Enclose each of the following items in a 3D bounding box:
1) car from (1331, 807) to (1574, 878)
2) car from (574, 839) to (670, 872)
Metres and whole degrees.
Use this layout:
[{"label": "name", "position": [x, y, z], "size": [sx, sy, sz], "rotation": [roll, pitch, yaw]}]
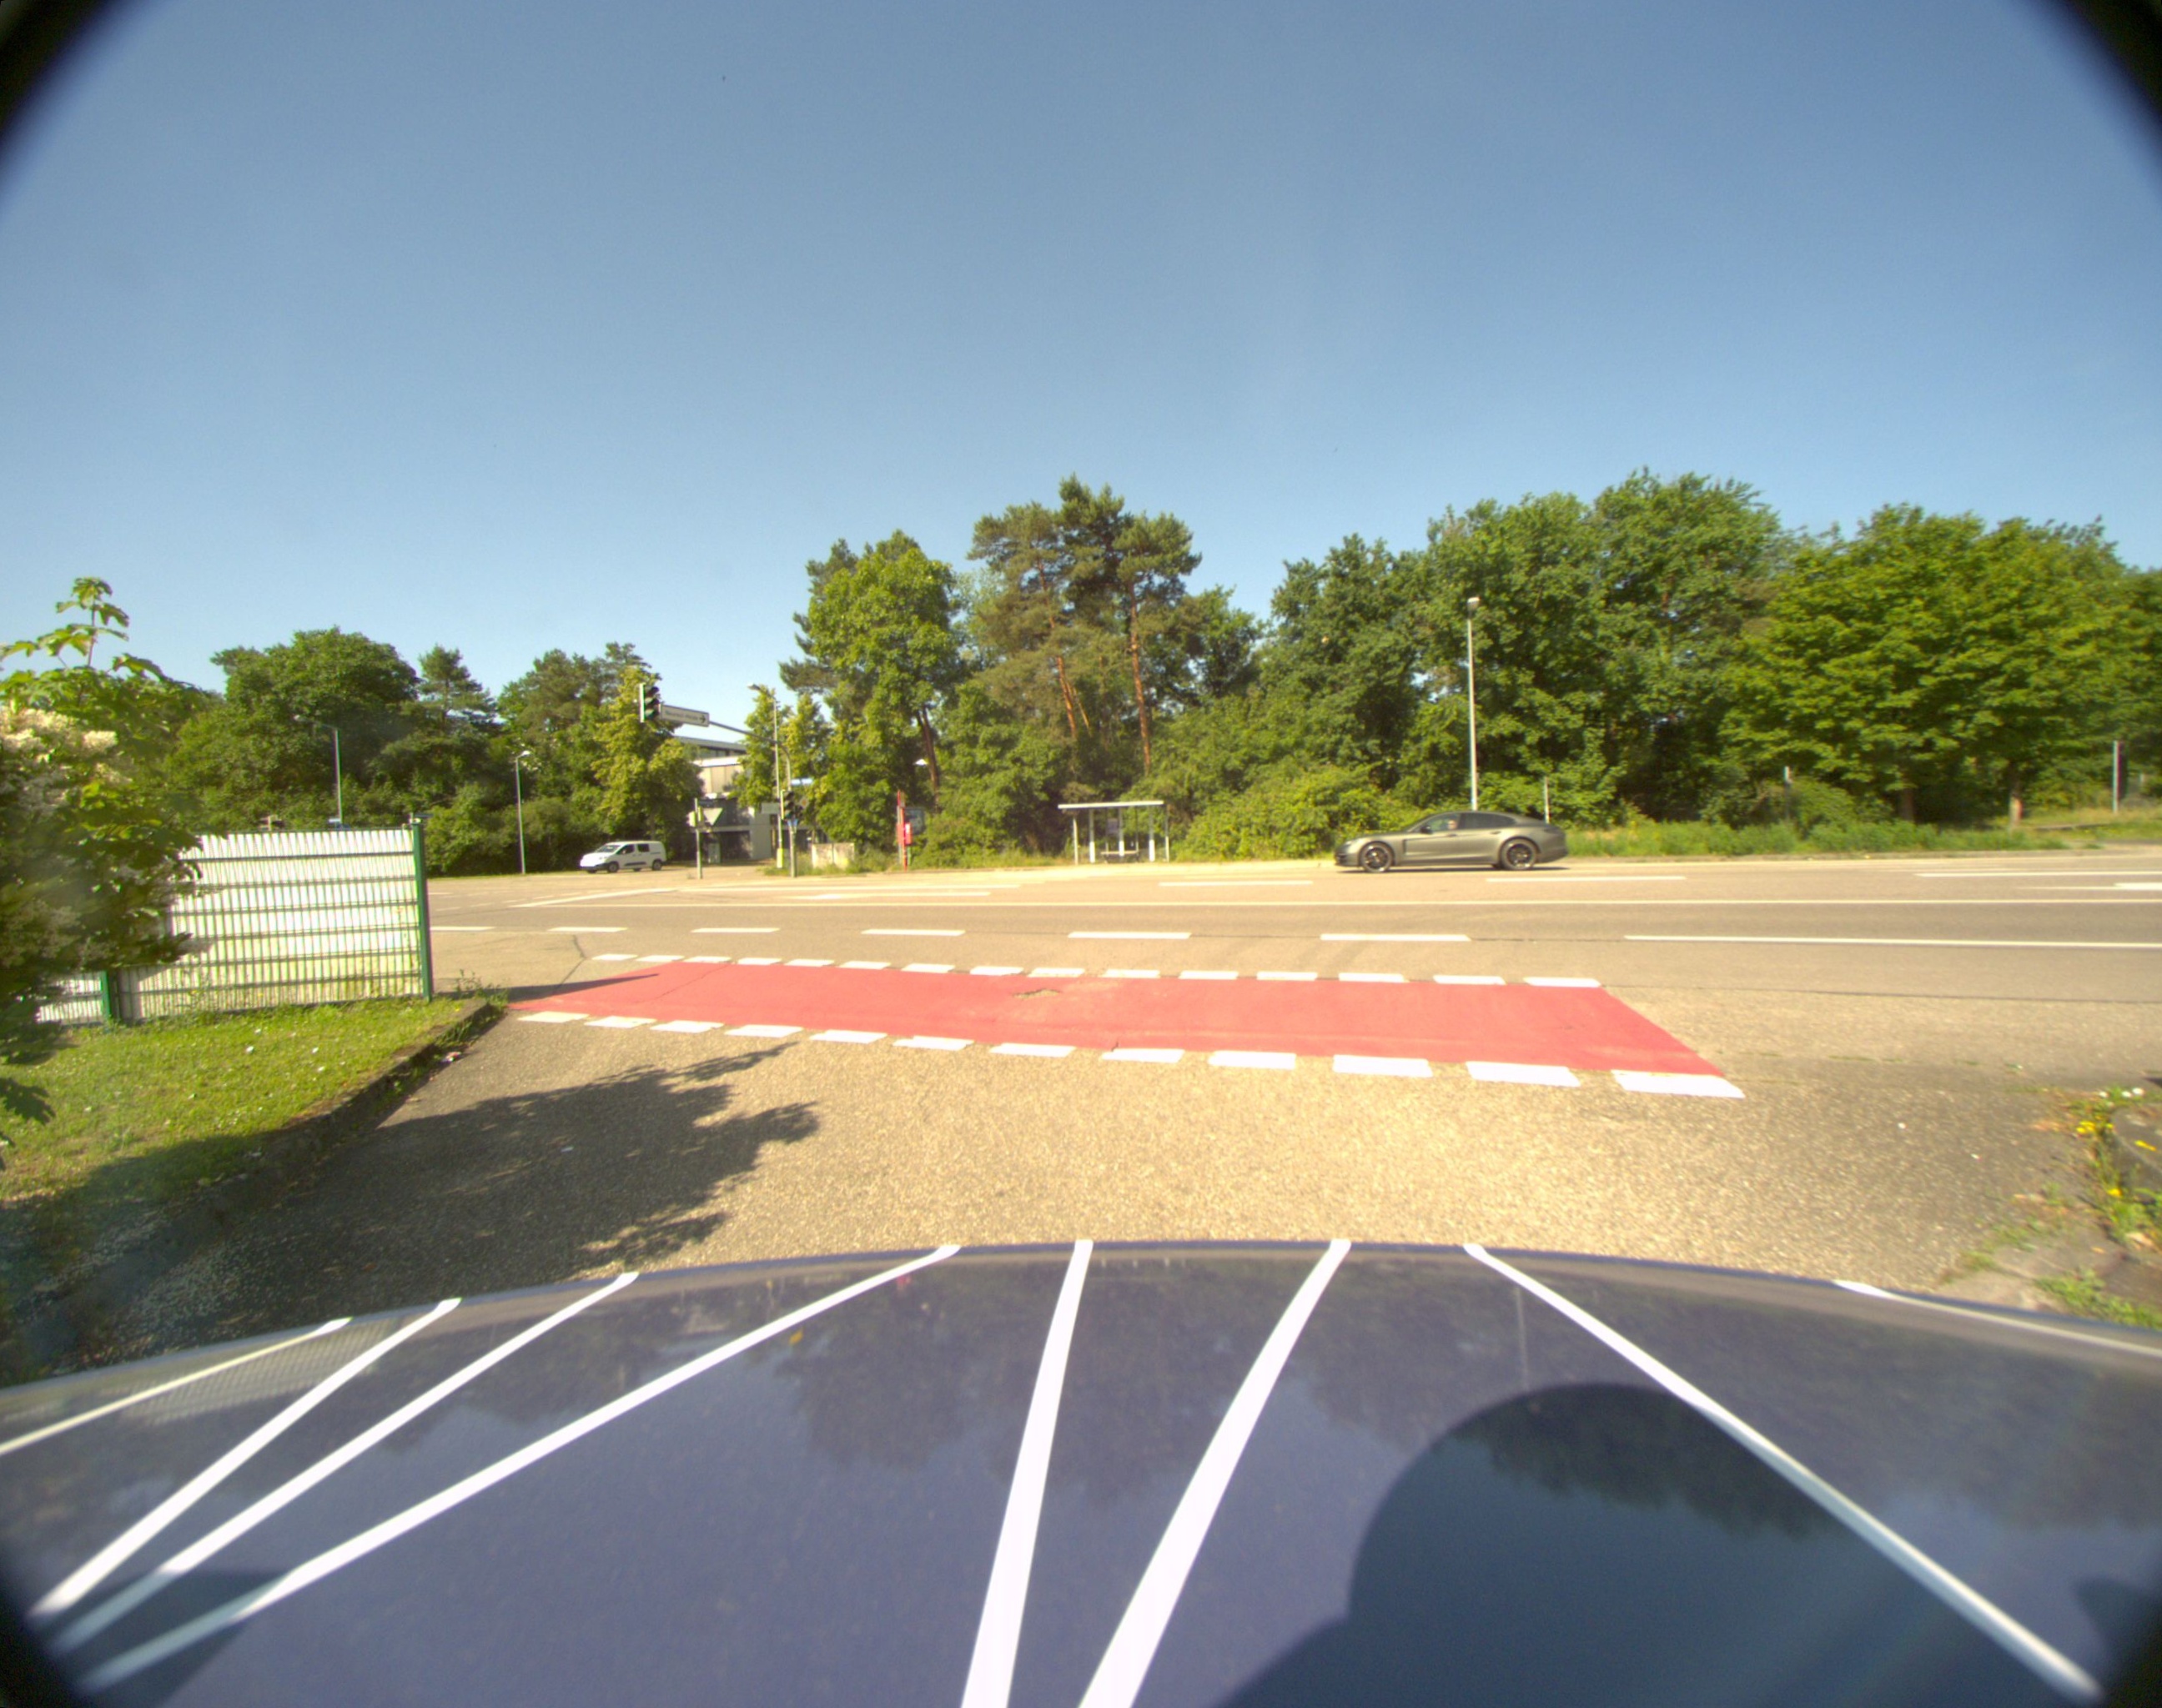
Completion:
[{"label": "car", "position": [8.473, -0.234, 17.843], "size": [4.901, 1.487, 1.855], "rotation": [-1, 1, 18]}, {"label": "car", "position": [-26.724, 0.063, 44.415], "size": [1.848, 1.768, 4.667], "rotation": [-1, 1, 19]}]
